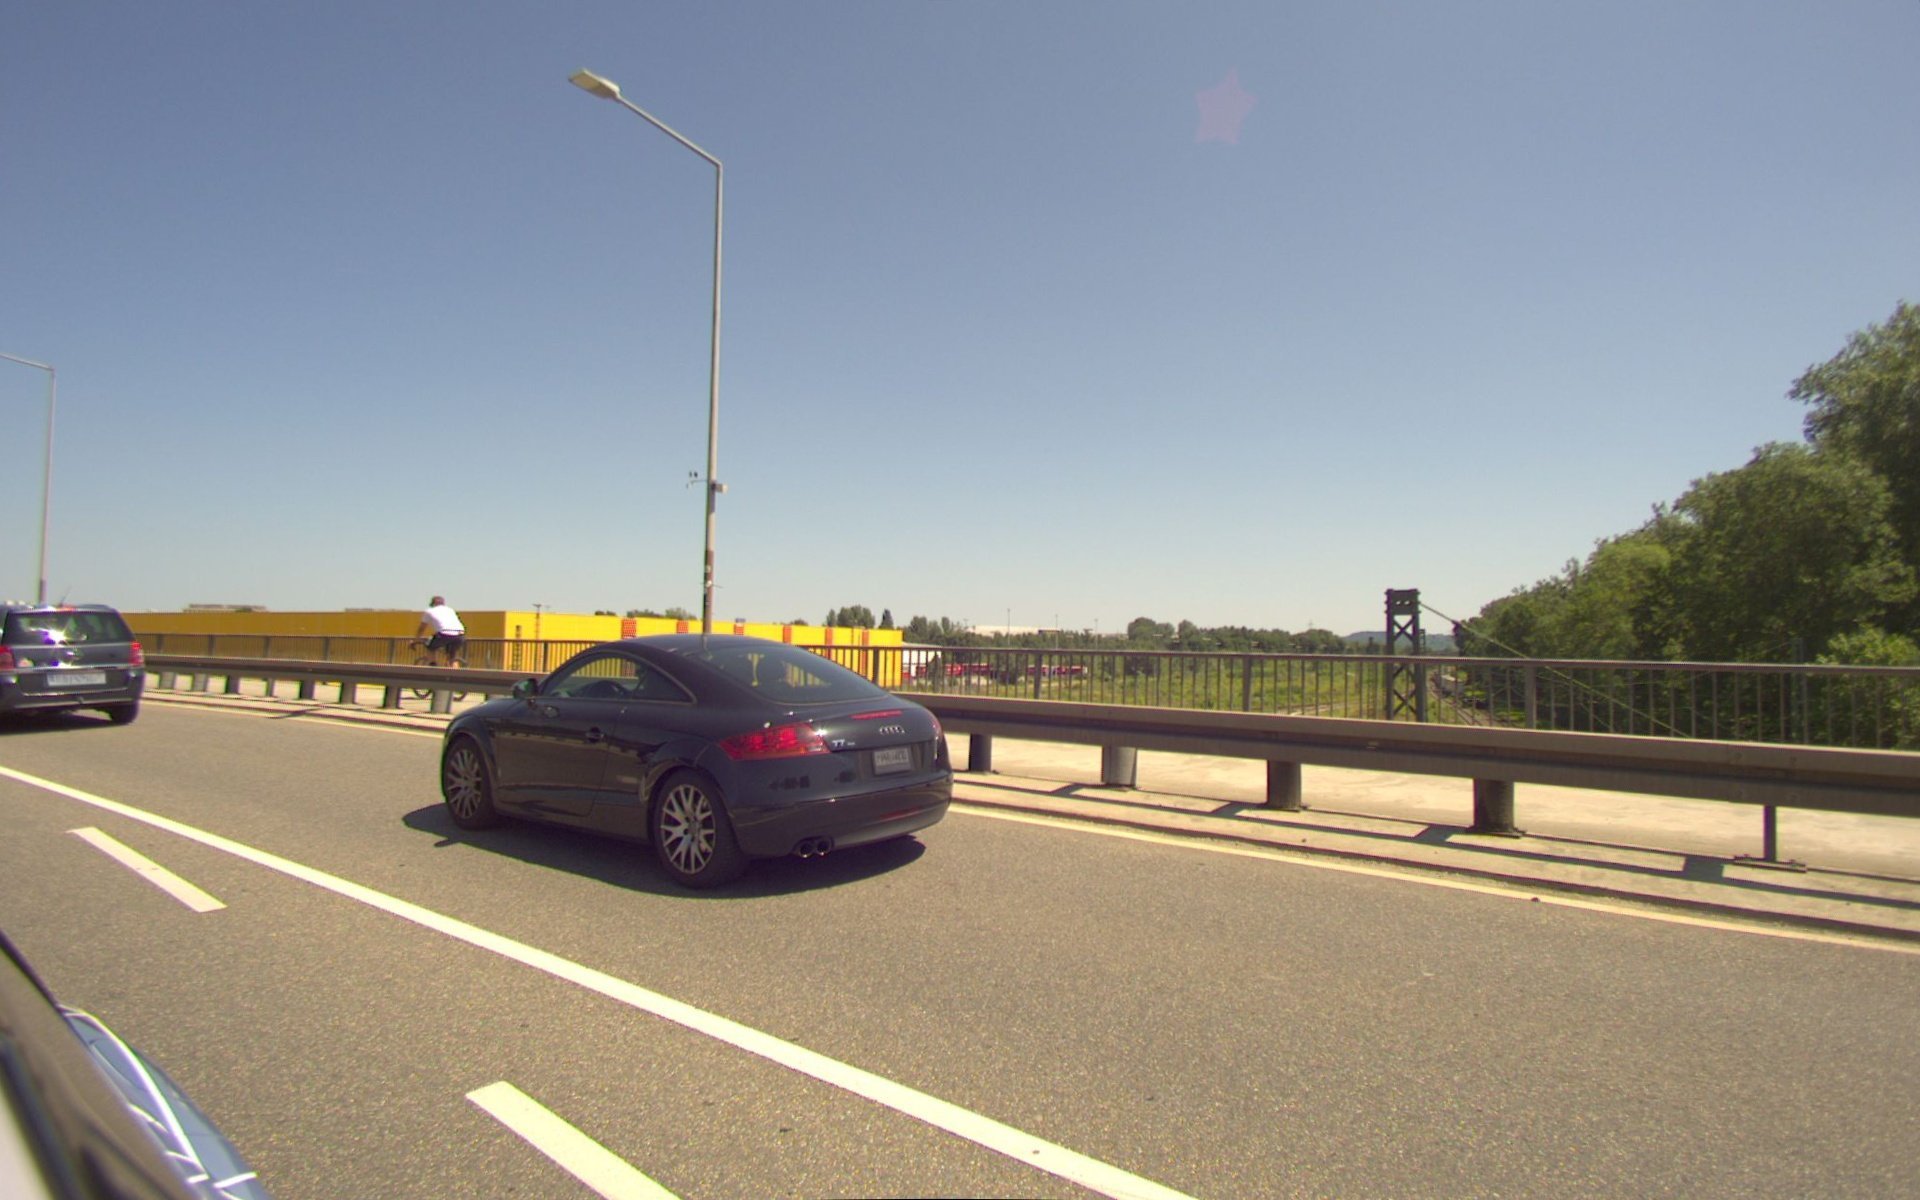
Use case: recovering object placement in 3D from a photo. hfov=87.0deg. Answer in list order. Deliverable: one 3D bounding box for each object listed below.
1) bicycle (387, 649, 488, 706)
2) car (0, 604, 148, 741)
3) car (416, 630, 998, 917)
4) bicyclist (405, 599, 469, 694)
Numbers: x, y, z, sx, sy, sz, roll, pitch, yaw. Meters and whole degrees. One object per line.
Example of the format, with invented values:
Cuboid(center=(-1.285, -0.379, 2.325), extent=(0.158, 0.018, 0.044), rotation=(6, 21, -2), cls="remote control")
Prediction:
Cuboid(center=(-8.658, 1.259, 16.734), extent=(1.985, 0.840, 0.583), rotation=(-1, -1, 33), cls="bicycle")
Cuboid(center=(-12.984, 0.909, 13.877), extent=(4.240, 1.638, 1.693), rotation=(-1, -1, 34), cls="car")
Cuboid(center=(-1.832, 0.873, 6.675), extent=(3.967, 1.318, 1.662), rotation=(-1, -1, 38), cls="car")
Cuboid(center=(-8.649, 0.757, 16.735), extent=(0.893, 1.533, 0.578), rotation=(-1, -1, 33), cls="bicyclist")
